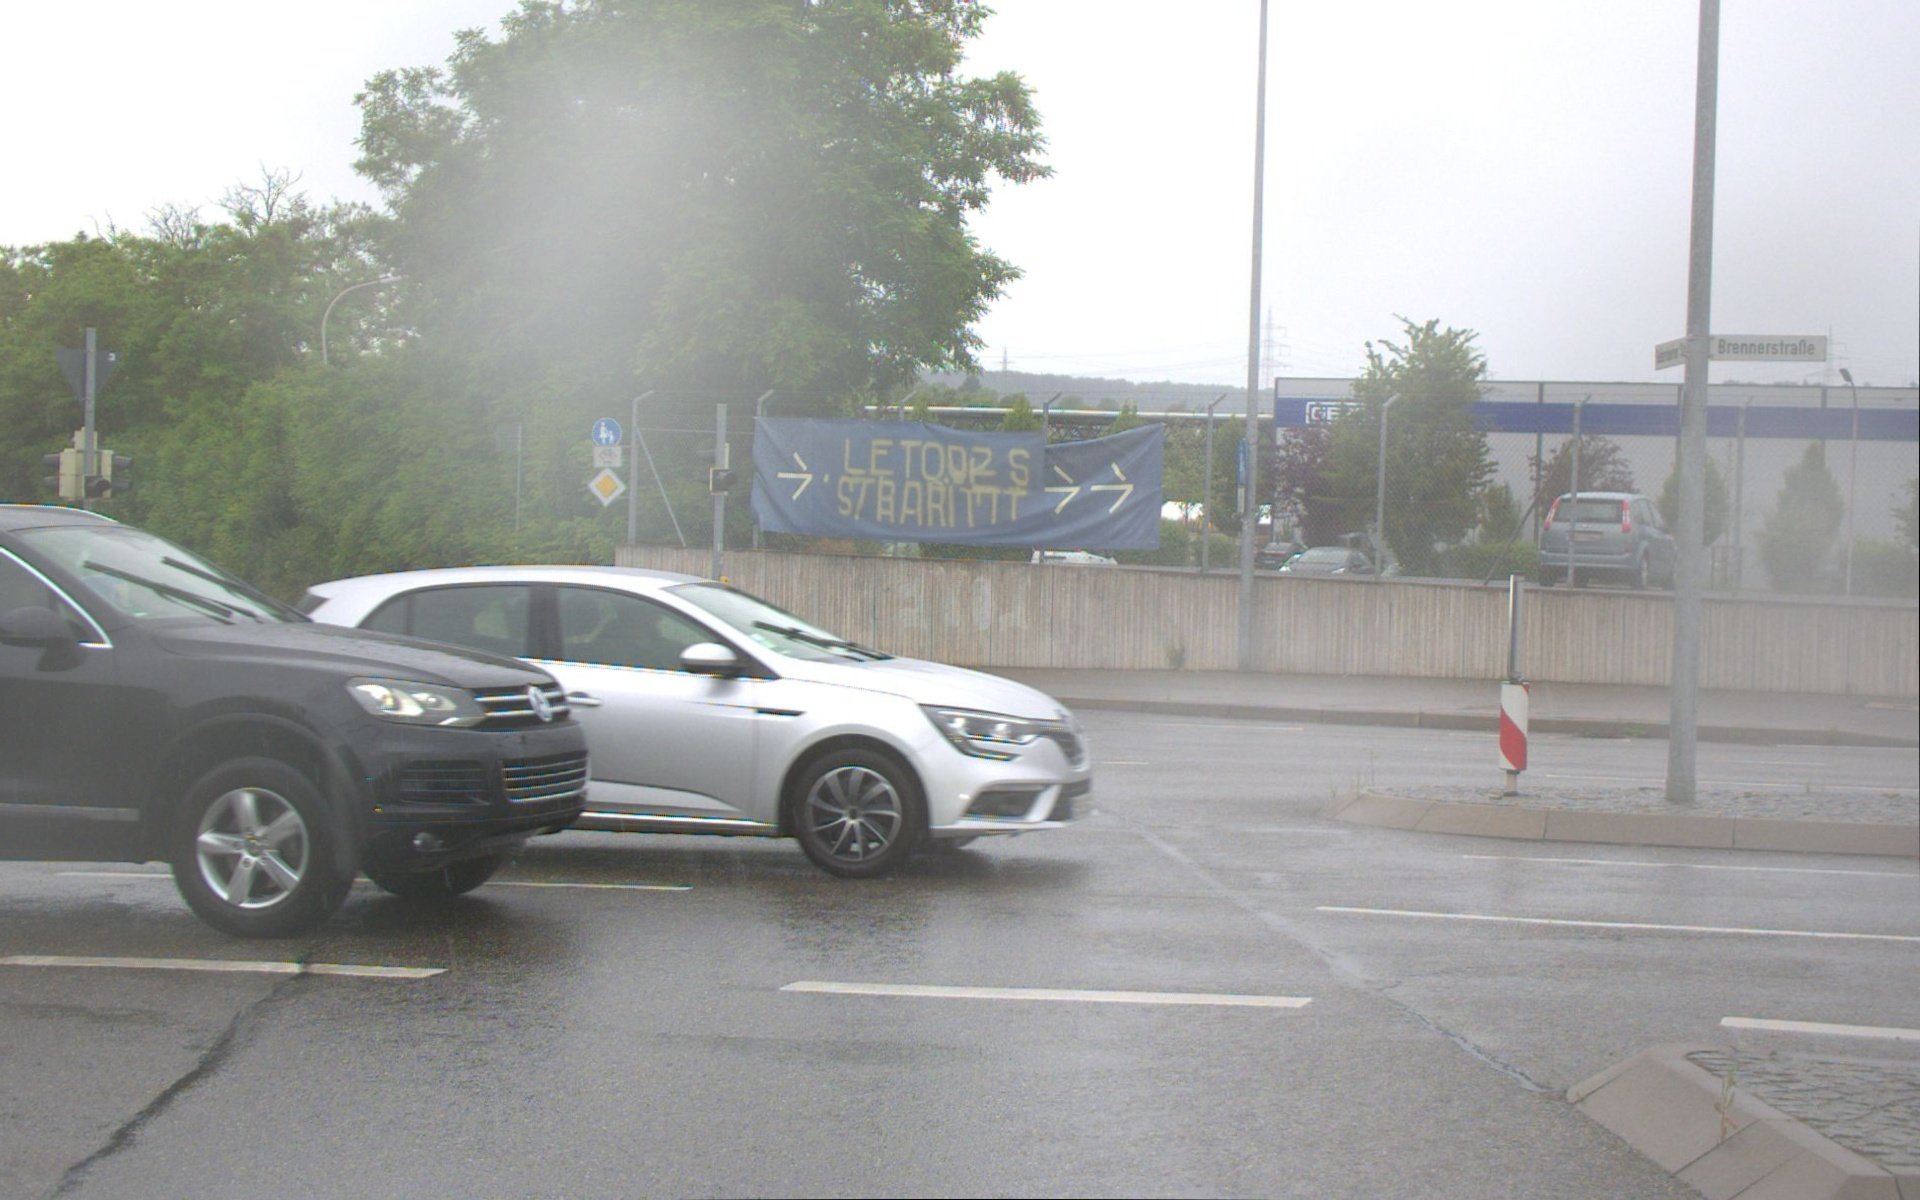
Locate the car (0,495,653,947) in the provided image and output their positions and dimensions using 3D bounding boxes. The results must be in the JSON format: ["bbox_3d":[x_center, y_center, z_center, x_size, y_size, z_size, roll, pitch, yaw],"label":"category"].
[{"bbox_3d":[-3.802,0.432,14.439,4.599,1.696,1.999,0,1,14],"label":"car"}]

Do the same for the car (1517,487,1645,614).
[{"bbox_3d":[10.443,-0.838,57.695,1.994,2.007,3.998,1,1,11],"label":"car"}]

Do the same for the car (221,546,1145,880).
[{"bbox_3d":[-1.317,0.491,17.046,4.142,1.412,1.926,2,1,14],"label":"car"}]
